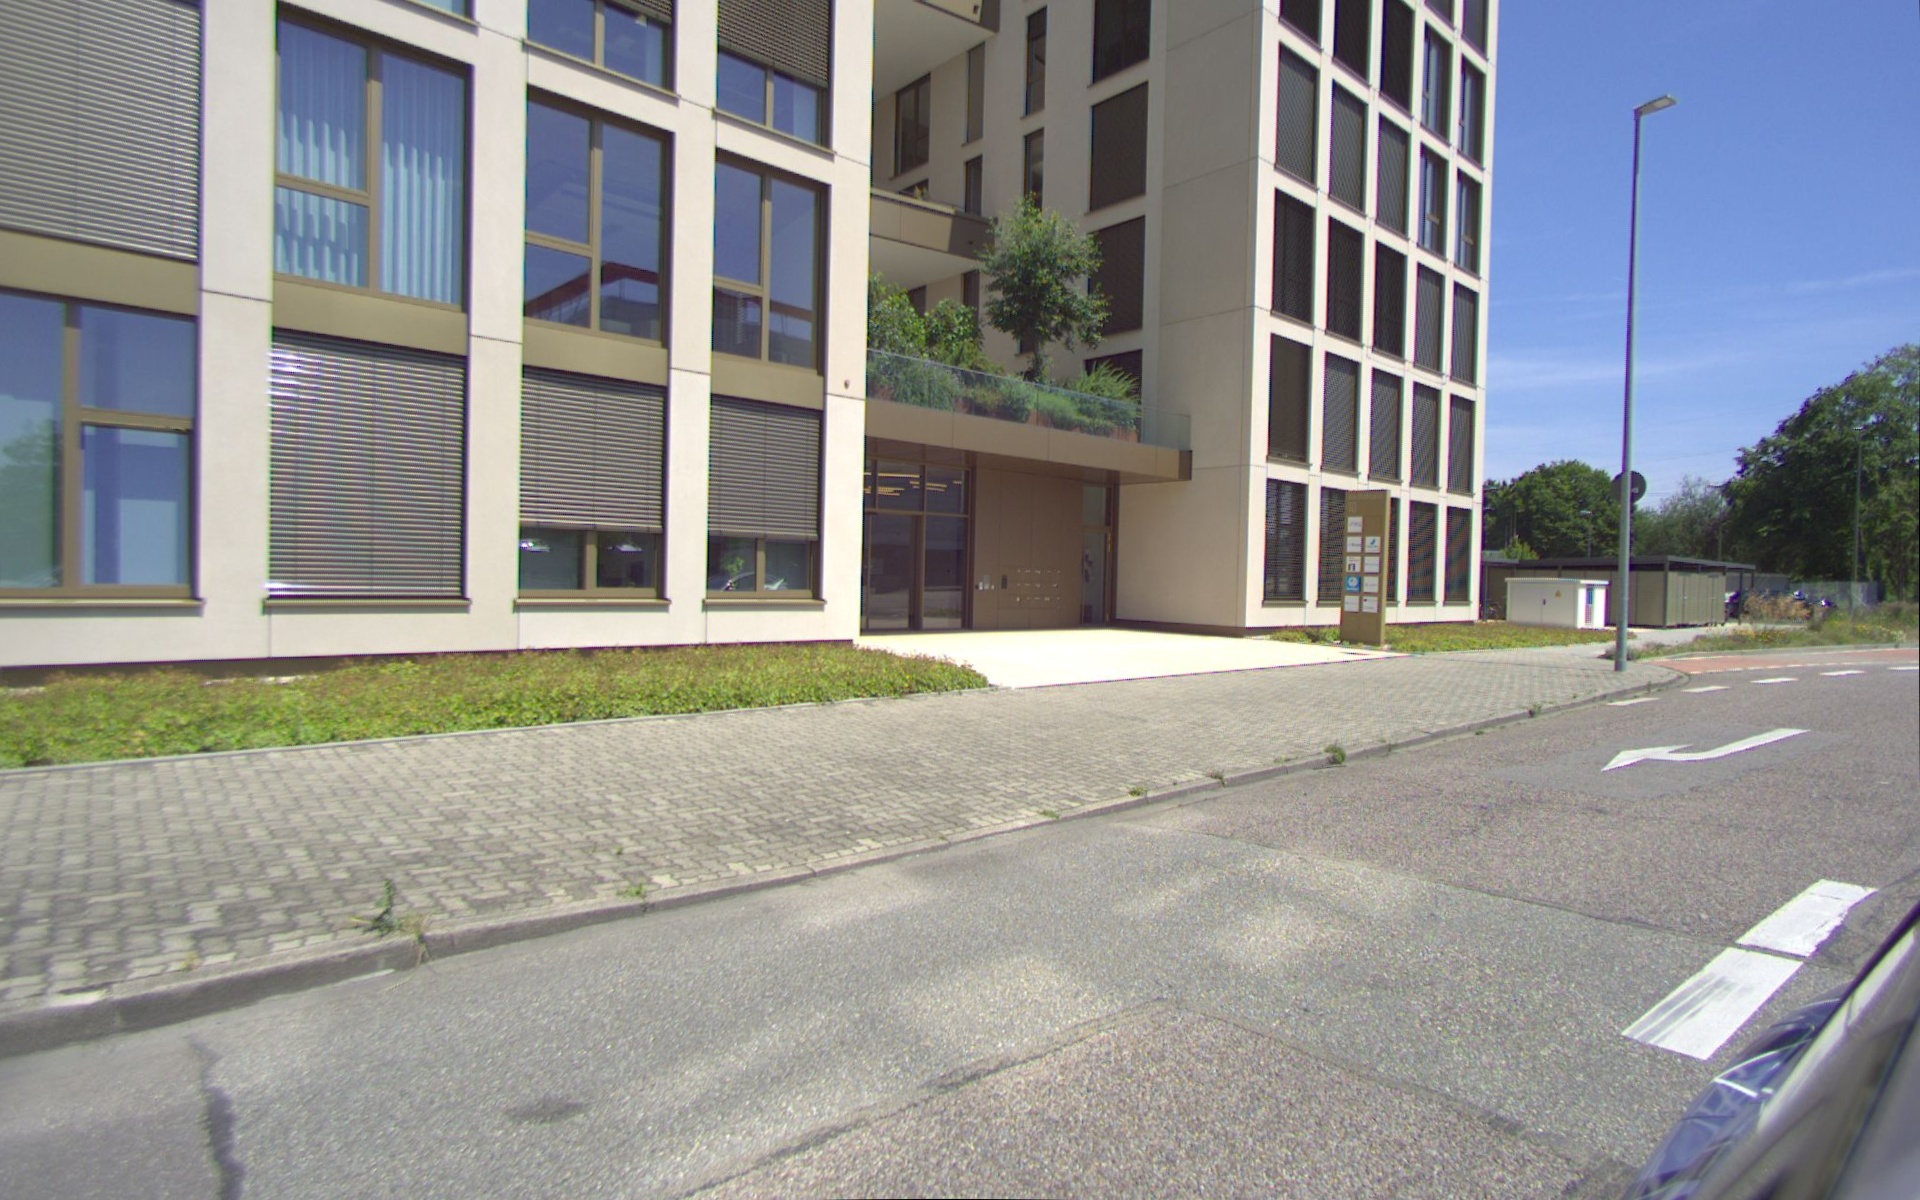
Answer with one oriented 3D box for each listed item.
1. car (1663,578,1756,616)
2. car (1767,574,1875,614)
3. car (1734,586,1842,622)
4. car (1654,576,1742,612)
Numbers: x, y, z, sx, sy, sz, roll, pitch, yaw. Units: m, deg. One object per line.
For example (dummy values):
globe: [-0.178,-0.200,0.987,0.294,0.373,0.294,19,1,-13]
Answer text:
car: [43.924,-0.219,59.446,3.956,2.038,1.984,2,1,24]
car: [46.647,-0.359,54.948,3.956,1.977,1.984,2,1,24]
car: [43.186,0.176,52.887,3.959,1.682,1.823,2,2,25]
car: [45.176,-0.403,62.056,3.956,2.038,1.984,2,1,24]
